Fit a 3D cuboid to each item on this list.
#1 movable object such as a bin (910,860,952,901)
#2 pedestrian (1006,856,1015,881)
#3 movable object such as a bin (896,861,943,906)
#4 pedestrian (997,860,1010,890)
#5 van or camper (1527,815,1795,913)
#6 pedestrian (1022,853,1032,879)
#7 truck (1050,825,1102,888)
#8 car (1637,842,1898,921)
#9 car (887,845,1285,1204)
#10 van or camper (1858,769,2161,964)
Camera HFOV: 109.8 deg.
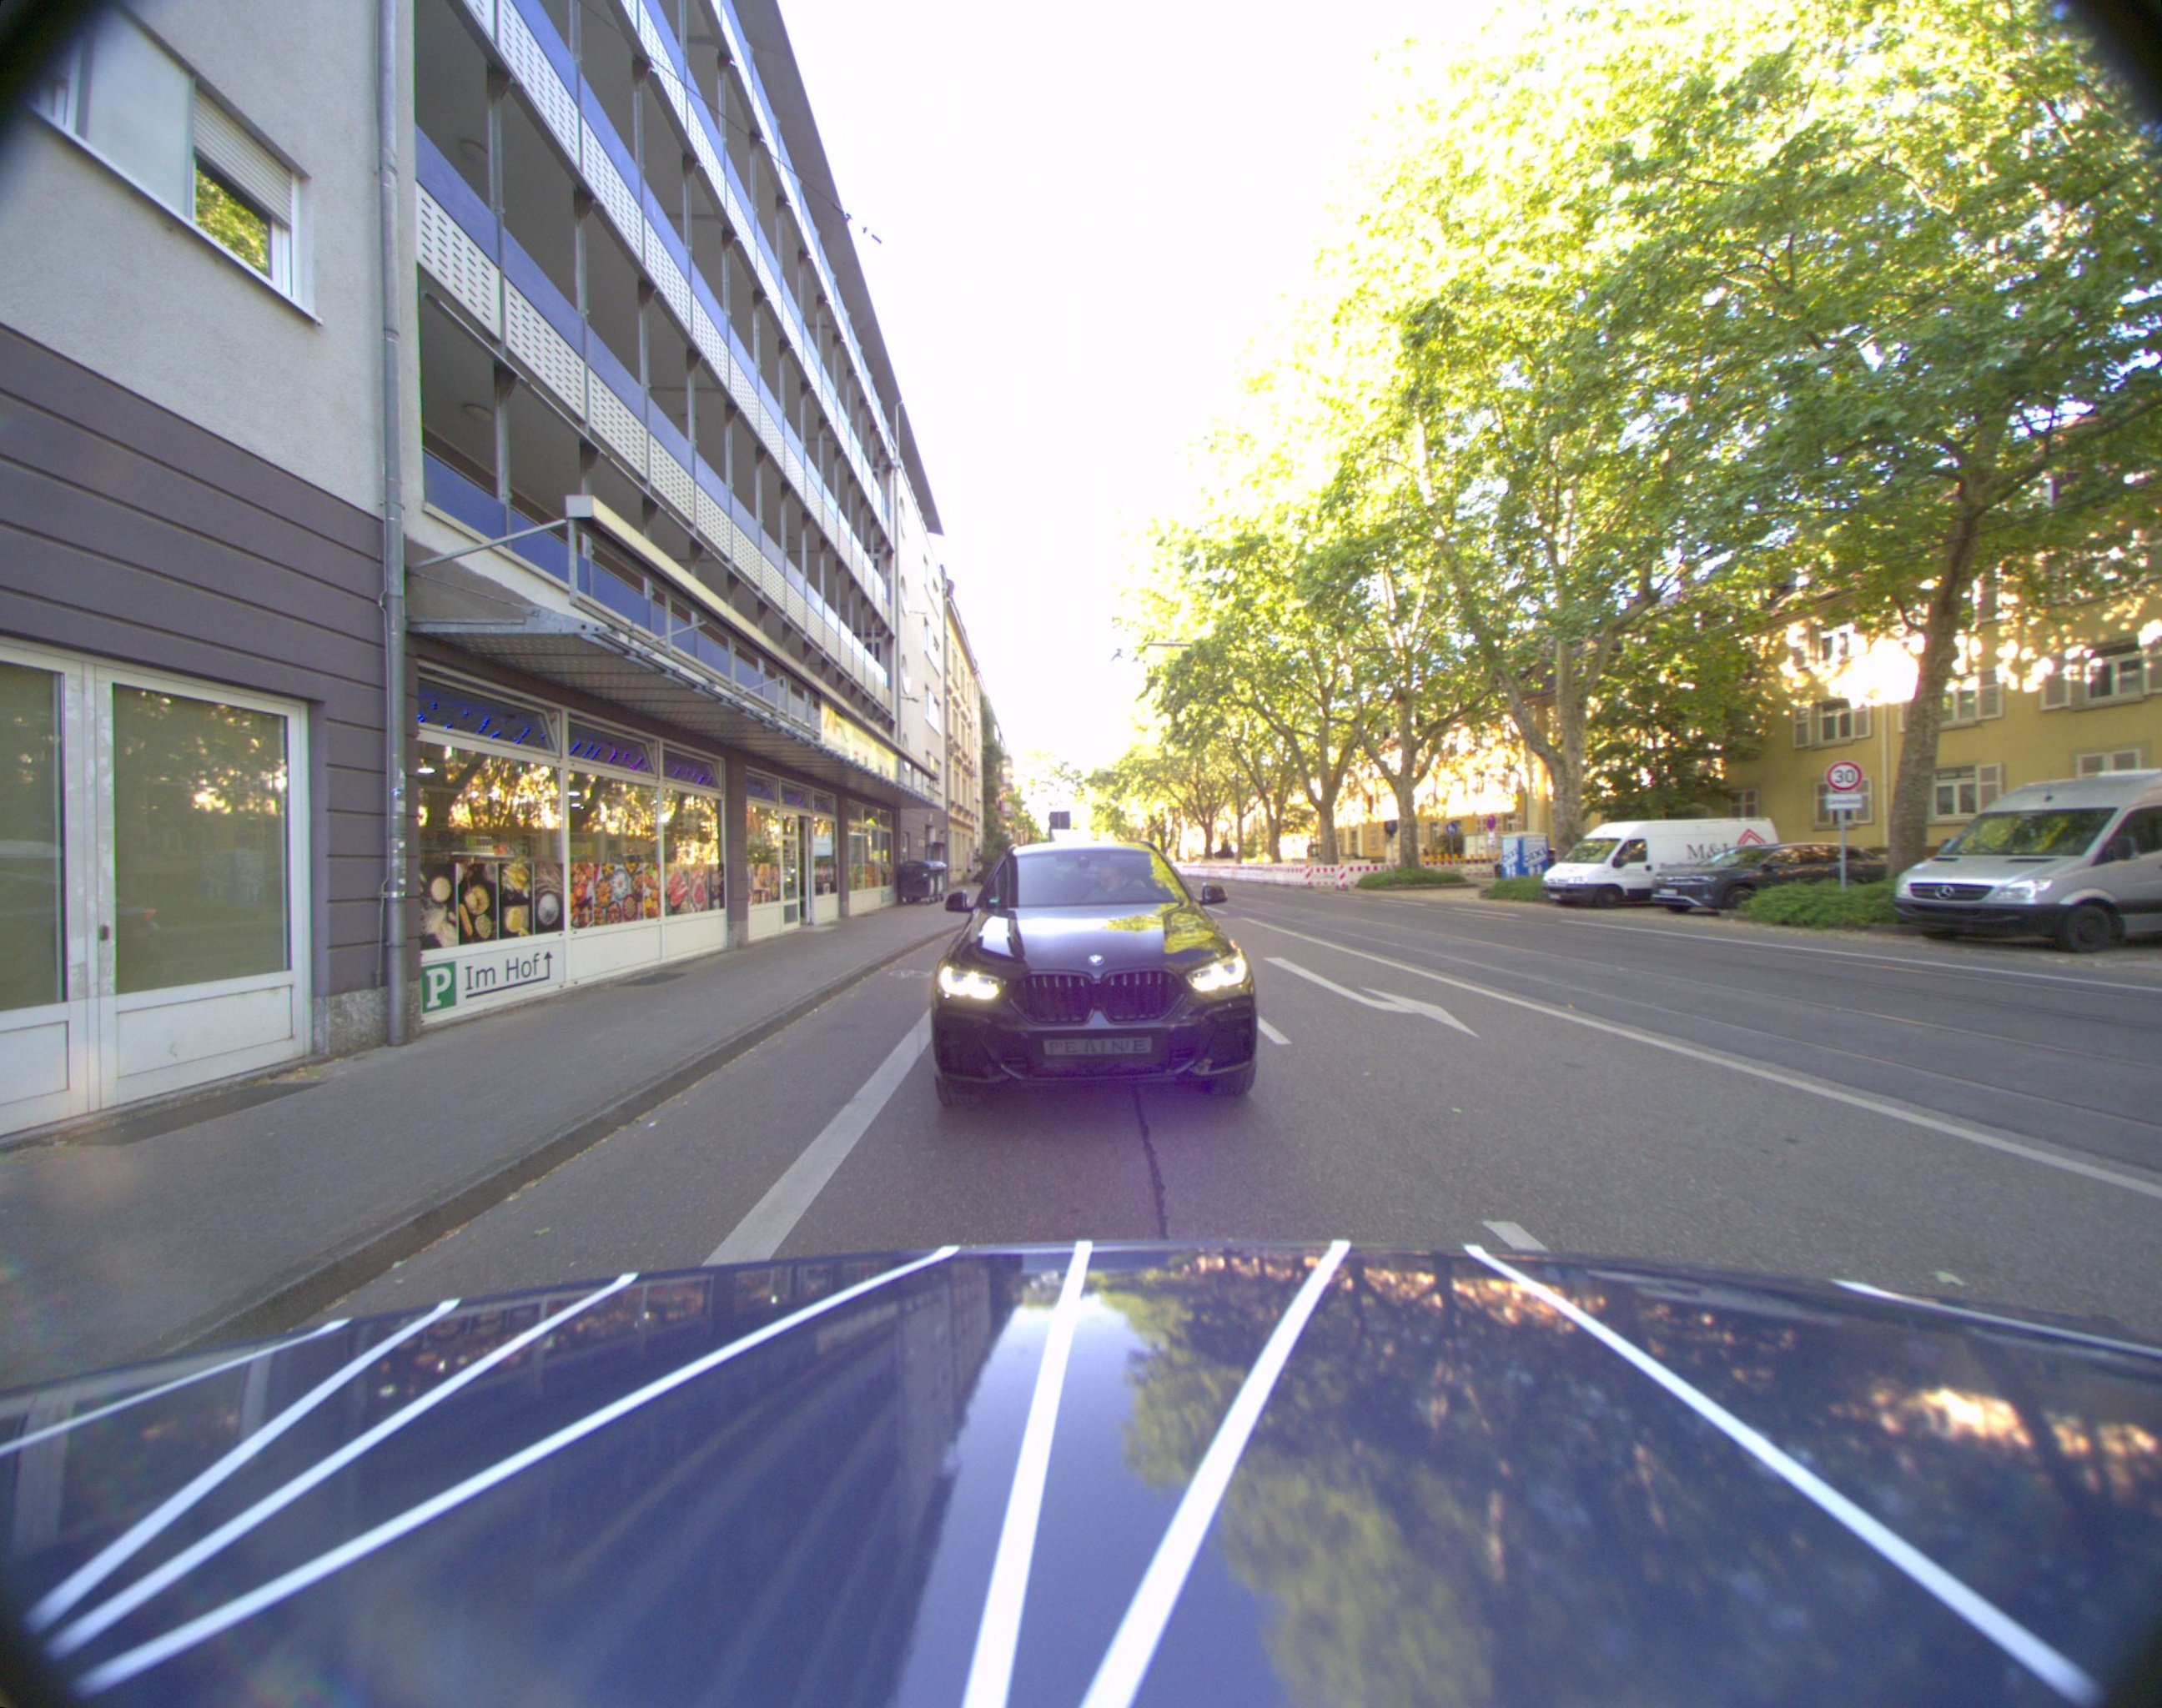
[{"bbox_3d":[-5.279,0.927,26.834,1.203,1.402,1.372,-1,0,1],"label":"movable object such as a bin"},{"bbox_3d":[-4.755,0.953,51.082,0.541,1.662,0.513,-1,0,1],"label":"pedestrian"},{"bbox_3d":[-5.254,0.948,24.834,1.203,1.402,1.372,-1,0,1],"label":"movable object such as a bin"},{"bbox_3d":[-3.705,1.004,36.307,0.541,1.437,0.630,-1,0,1],"label":"pedestrian"},{"bbox_3d":[15.875,0.247,21.044,5.763,2.371,2.156,-2,1,0],"label":"van or camper"},{"bbox_3d":[-3.488,0.758,49.325,0.541,1.662,0.630,-1,0,1],"label":"pedestrian"},{"bbox_3d":[-0.371,0.112,40.977,2.344,3.095,5.210,-2,1,-4],"label":"truck"},{"bbox_3d":[15.997,0.609,17.861,4.540,1.624,1.693,-2,1,1],"label":"car"},{"bbox_3d":[0.069,0.838,6.153,1.930,1.742,4.683,-2,1,1],"label":"car"},{"bbox_3d":[16.007,0.089,11.665,5.931,2.633,2.156,-2,1,0],"label":"van or camper"}]
